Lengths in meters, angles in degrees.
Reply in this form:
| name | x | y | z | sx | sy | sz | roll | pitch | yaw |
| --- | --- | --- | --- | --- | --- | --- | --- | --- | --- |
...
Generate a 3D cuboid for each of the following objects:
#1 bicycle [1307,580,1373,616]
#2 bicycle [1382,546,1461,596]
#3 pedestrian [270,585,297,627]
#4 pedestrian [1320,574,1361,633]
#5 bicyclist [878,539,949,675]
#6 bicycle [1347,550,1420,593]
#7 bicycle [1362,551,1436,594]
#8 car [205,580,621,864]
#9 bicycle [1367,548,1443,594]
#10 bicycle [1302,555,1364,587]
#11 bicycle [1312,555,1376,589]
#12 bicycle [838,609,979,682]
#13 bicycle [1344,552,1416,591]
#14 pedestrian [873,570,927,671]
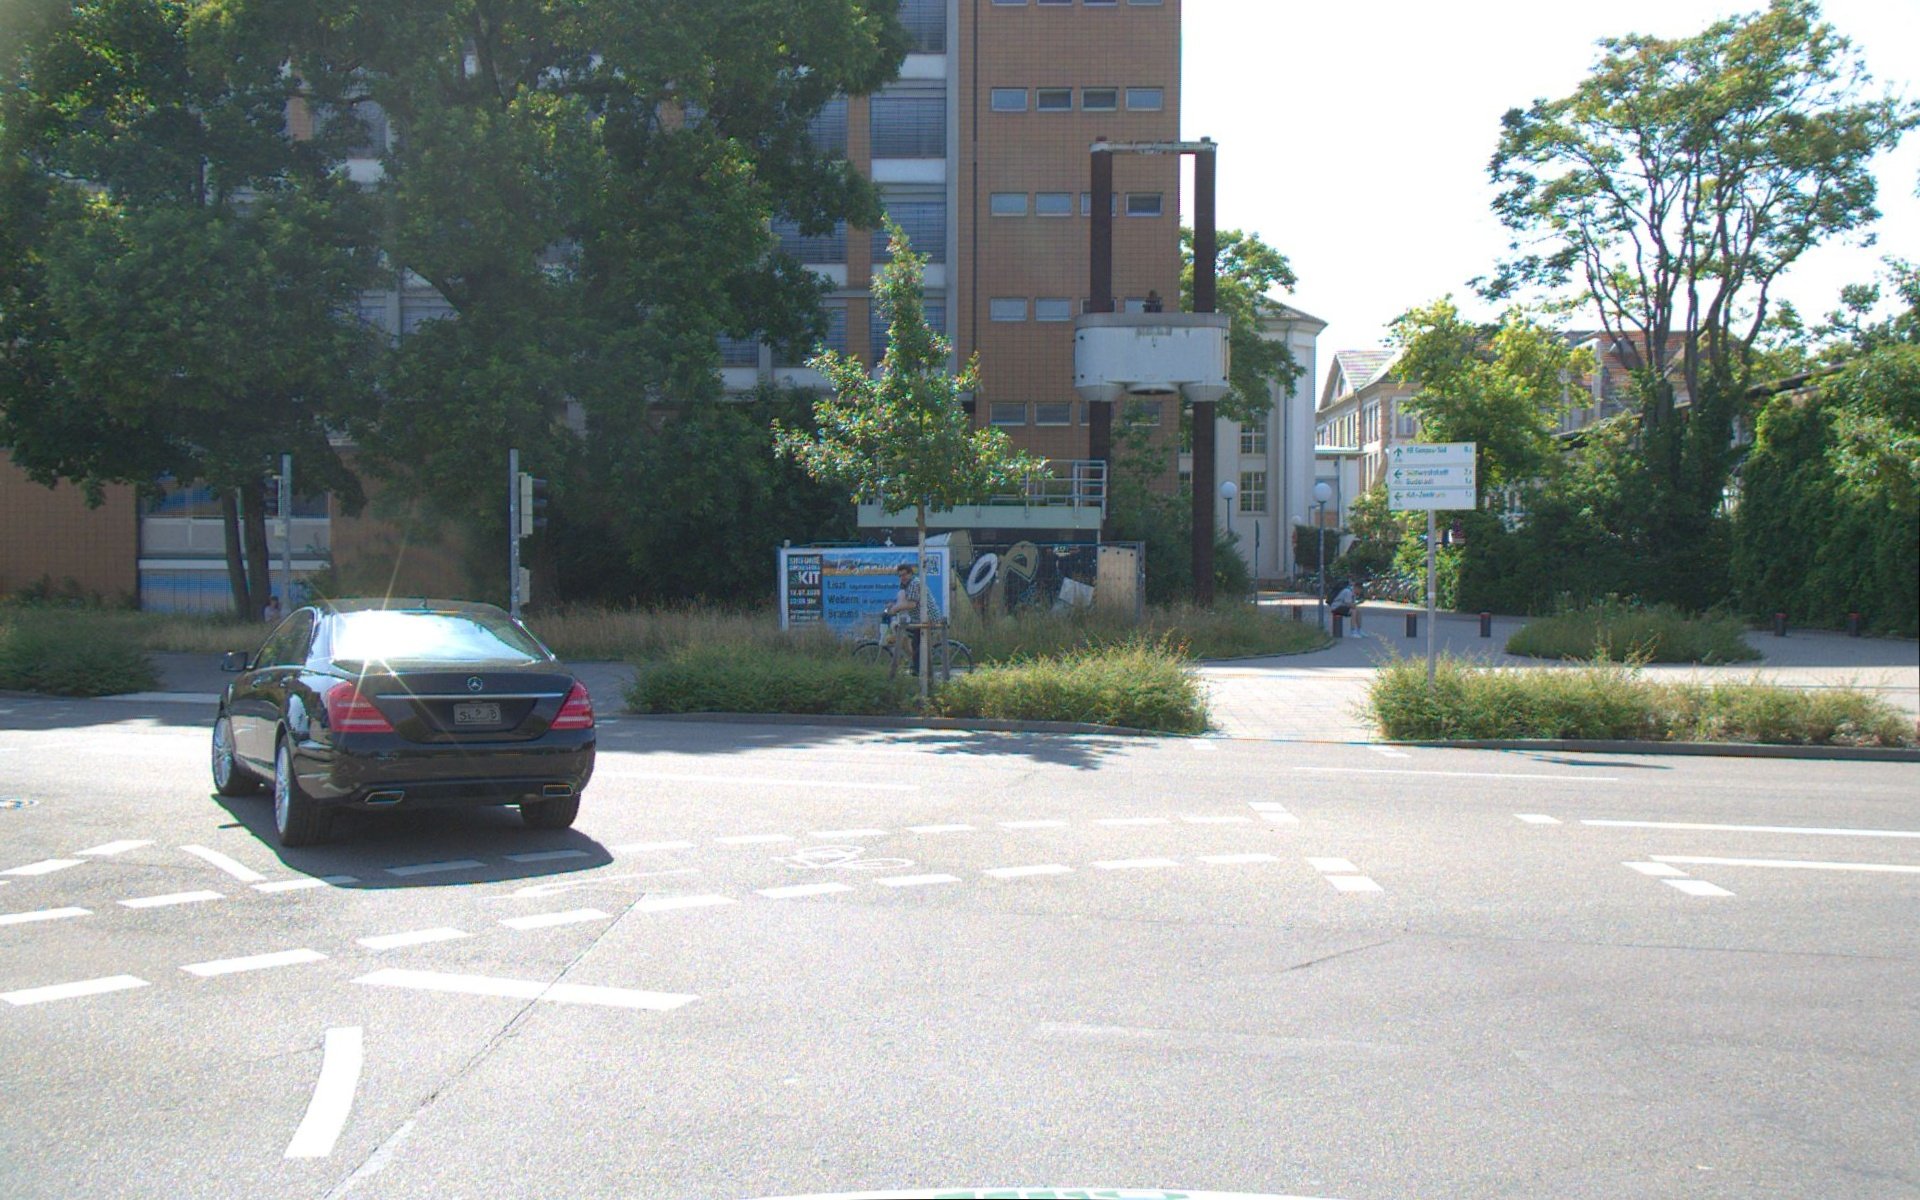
| name | x | y | z | sx | sy | sz | roll | pitch | yaw |
| --- | --- | --- | --- | --- | --- | --- | --- | --- | --- |
| bicycle | 16.975 | -0.089 | 73.972 | 2.764 | 1.586 | 0.842 | 0 | 1 | 2 |
| bicycle | 17.514 | -1.097 | 62.841 | 2.764 | 1.868 | 0.842 | 0 | 1 | 2 |
| pedestrian | -14.950 | 0.127 | 36.552 | 0.419 | 0.907 | 0.393 | 0 | 1 | 12 |
| pedestrian | 8.191 | 0.065 | 35.617 | 0.776 | 1.234 | 0.758 | 2 | 1 | 10 |
| bicyclist | -0.668 | 0.094 | 23.834 | 0.838 | 1.911 | 0.689 | -2 | 1 | 10 |
| bicycle | 17.290 | -1.164 | 67.580 | 2.764 | 1.688 | 0.842 | 0 | 3 | 2 |
| bicycle | 17.645 | -1.115 | 66.521 | 2.764 | 1.678 | 0.842 | 0 | 1 | 2 |
| car | -4.058 | 0.673 | 11.699 | 1.840 | 1.556 | 4.664 | -1 | 1 | -31 |
| bicycle | 17.497 | -1.134 | 65.105 | 2.764 | 1.775 | 0.842 | 0 | 1 | 2 |
| bicycle | 17.518 | -1.369 | 77.718 | 2.764 | 1.506 | 0.842 | 0 | 1 | 2 |
| bicycle | 17.607 | -1.299 | 75.882 | 2.764 | 1.526 | 0.842 | 0 | 1 | 2 |
| bicycle | -0.735 | 0.656 | 23.859 | 1.910 | 0.963 | 0.695 | -2 | 1 | 10 |
| bicycle | 17.416 | -1.196 | 68.643 | 2.764 | 1.614 | 0.842 | 0 | 1 | 2 |
| pedestrian | -0.972 | 0.317 | 26.747 | 0.794 | 1.607 | 0.692 | 0 | 1 | 5 |
